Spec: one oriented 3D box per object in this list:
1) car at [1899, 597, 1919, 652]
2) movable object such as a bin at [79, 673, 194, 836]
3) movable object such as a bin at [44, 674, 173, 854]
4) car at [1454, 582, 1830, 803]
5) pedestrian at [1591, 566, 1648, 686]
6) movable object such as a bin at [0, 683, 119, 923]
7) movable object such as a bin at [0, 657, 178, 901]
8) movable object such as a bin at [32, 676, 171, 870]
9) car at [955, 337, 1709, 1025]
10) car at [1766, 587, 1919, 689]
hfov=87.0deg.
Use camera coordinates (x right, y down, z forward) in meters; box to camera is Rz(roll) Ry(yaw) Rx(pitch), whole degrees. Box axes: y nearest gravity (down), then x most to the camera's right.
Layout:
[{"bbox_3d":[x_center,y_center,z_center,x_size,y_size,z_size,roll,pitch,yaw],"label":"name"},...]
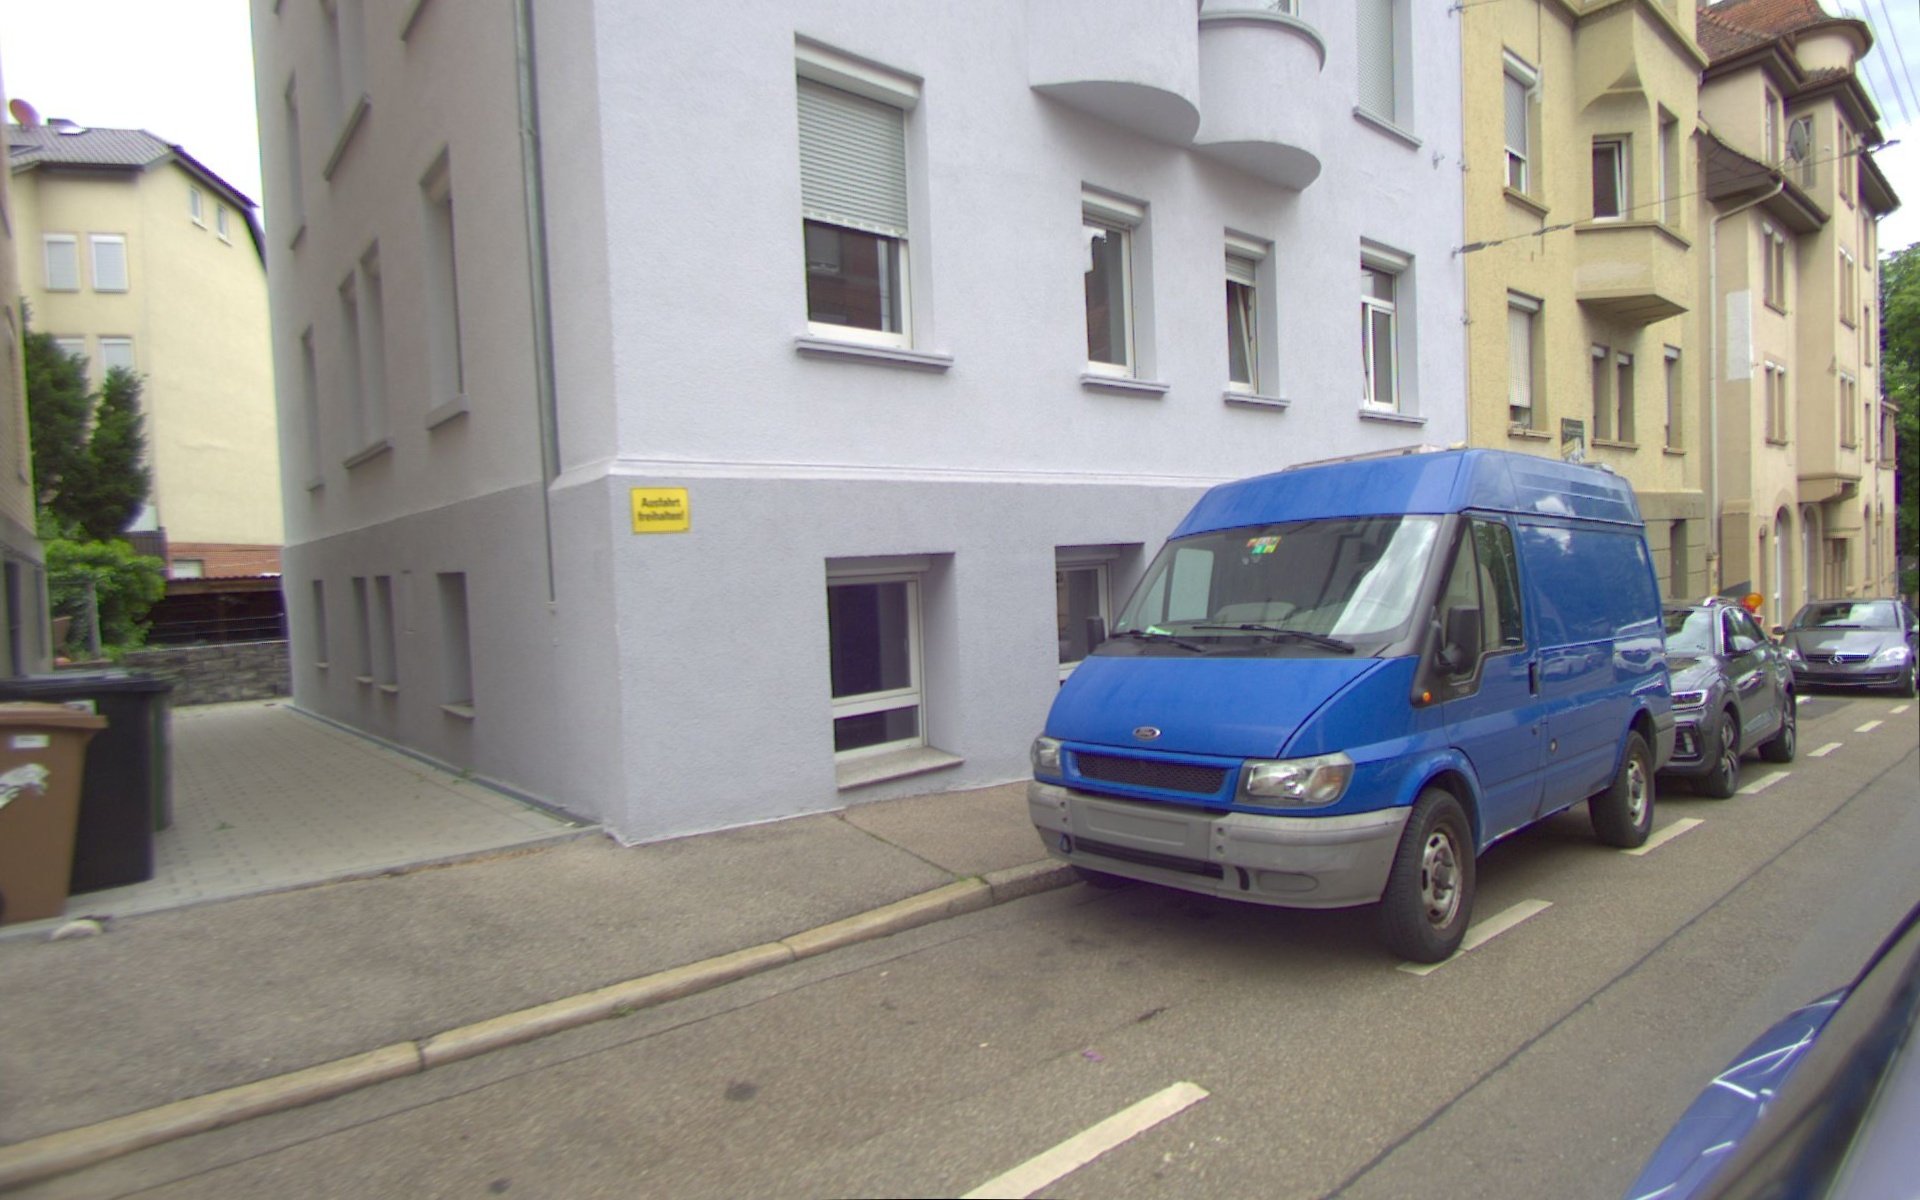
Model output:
[{"bbox_3d":[26.483,0.606,26.956,3.602,1.422,1.698,0,-2,-40],"label":"car"},{"bbox_3d":[-5.382,0.983,6.617,0.531,0.952,0.448,-3,-2,-41],"label":"movable object such as a bin"},{"bbox_3d":[-5.026,0.938,5.987,0.531,0.952,0.448,-3,-2,-41],"label":"movable object such as a bin"},{"bbox_3d":[6.290,0.673,9.149,4.120,1.550,1.781,-1,-3,-42],"label":"car"},{"bbox_3d":[9.798,0.363,15.043,0.540,1.701,0.509,6,7,41],"label":"pedestrian"},{"bbox_3d":[-4.068,0.871,4.447,0.531,0.952,0.448,-3,-2,-41],"label":"movable object such as a bin"},{"bbox_3d":[-4.309,0.835,4.921,0.739,1.048,0.461,-3,-1,-41],"label":"movable object such as a bin"},{"bbox_3d":[-4.738,0.924,5.599,0.531,0.952,0.448,-3,-2,-41],"label":"movable object such as a bin"},{"bbox_3d":[2.502,0.239,5.931,4.968,2.406,1.997,-1,1,-41],"label":"car"},{"bbox_3d":[15.399,0.594,17.244,3.956,1.538,1.830,0,-2,-40],"label":"car"}]
